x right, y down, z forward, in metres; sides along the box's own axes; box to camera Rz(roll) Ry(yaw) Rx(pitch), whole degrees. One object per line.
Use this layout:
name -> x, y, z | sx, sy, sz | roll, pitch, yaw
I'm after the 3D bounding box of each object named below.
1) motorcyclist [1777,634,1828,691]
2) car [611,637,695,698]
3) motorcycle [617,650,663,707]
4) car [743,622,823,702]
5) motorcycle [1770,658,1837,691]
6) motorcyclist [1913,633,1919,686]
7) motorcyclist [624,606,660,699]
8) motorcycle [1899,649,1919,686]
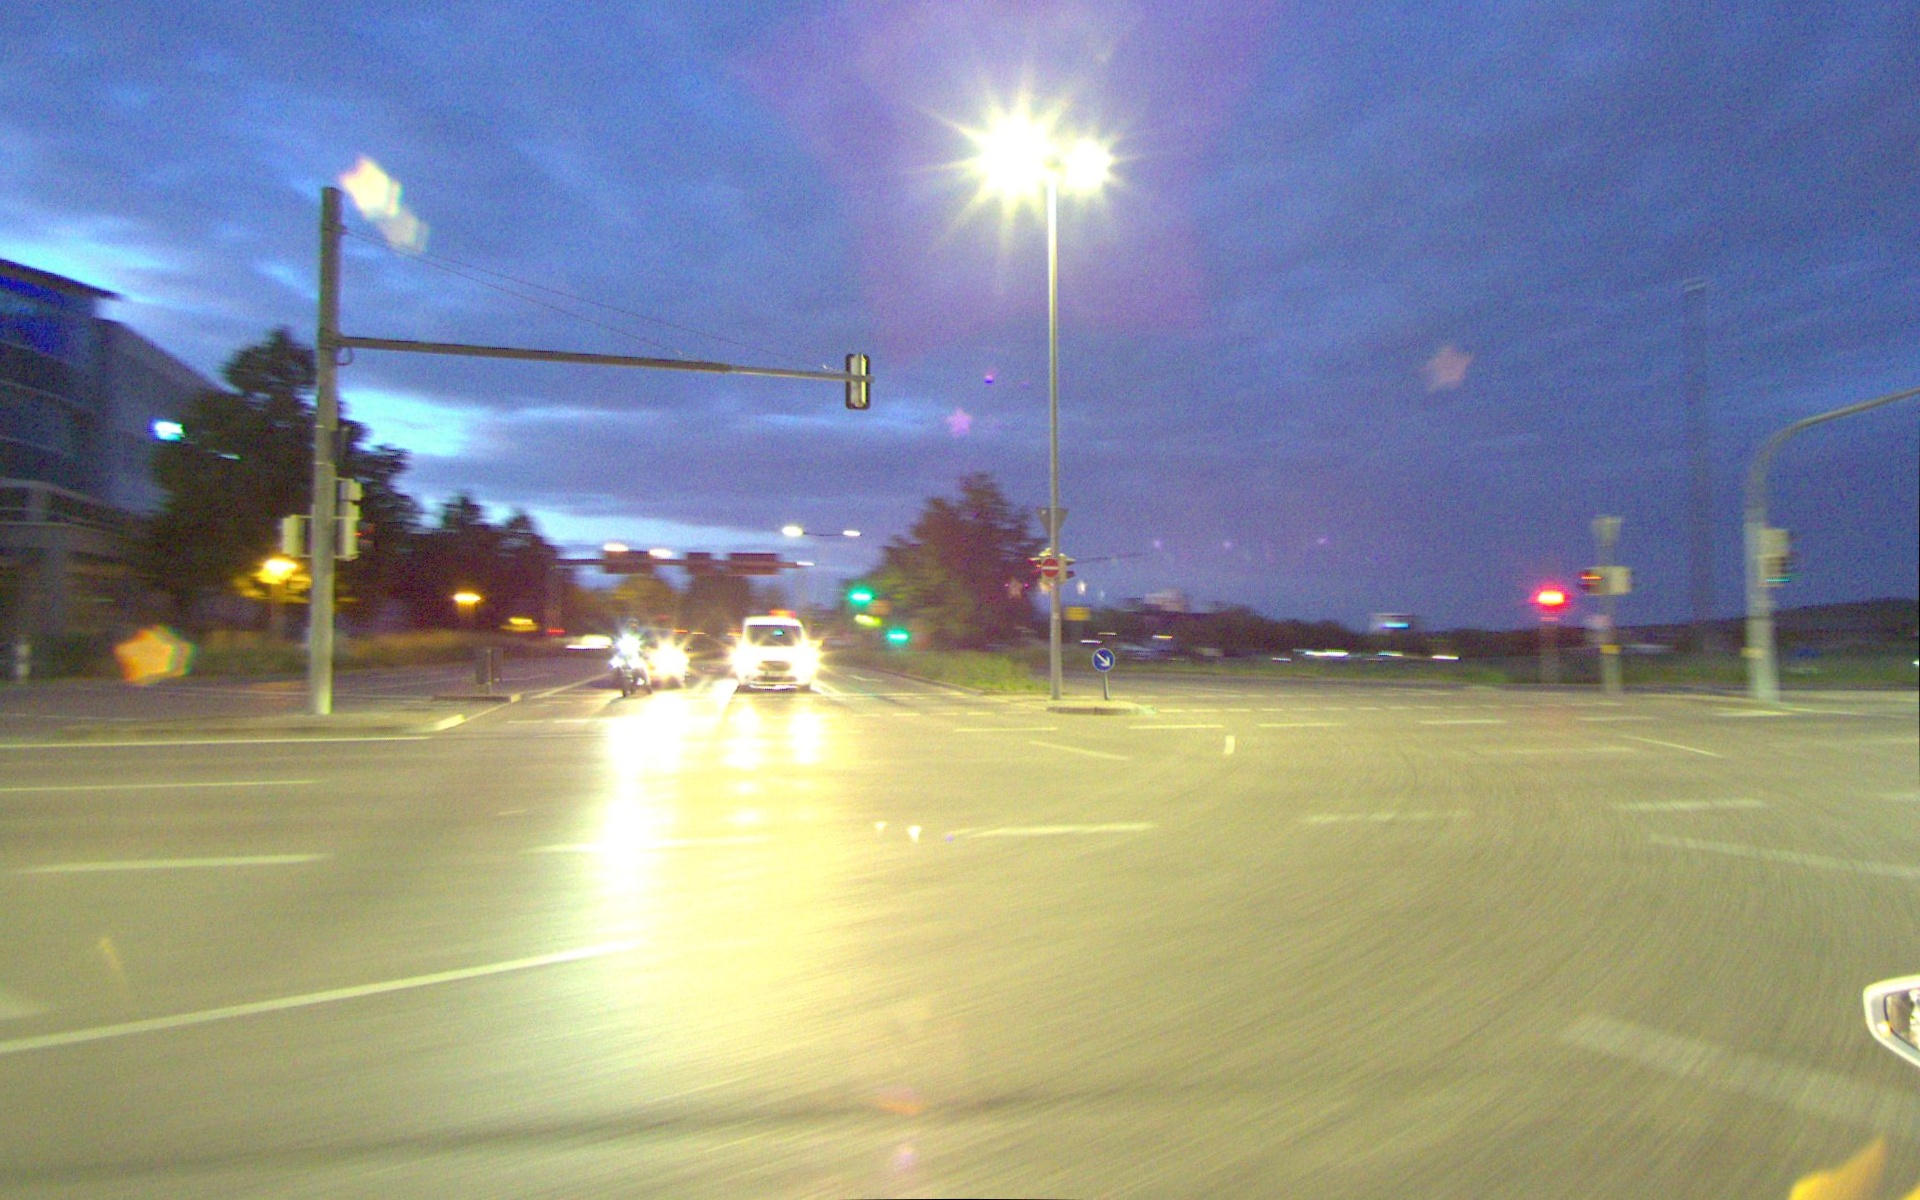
motorcyclist -> 28.653, 2.135, 34.165 | 0.853, 1.831, 0.918 | 1, -7, 6
car -> -7.876, 1.697, 26.074 | 1.744, 1.466, 3.773 | 1, -2, -12
motorcycle -> -7.071, 1.707, 22.269 | 0.660, 1.179, 1.806 | 0, -2, -8
car -> -4.611, 1.537, 25.790 | 1.817, 1.838, 4.765 | 0, -2, -12
motorcycle -> 28.656, 2.542, 34.128 | 1.545, 1.046, 0.724 | 1, -7, 6
motorcyclist -> 33.051, 2.017, 34.016 | 0.775, 1.781, 0.684 | 2, -6, -8
motorcyclist -> -7.114, 1.174, 22.527 | 0.624, 2.040, 0.767 | 0, -2, -8
motorcycle -> 33.009, 2.302, 33.968 | 1.788, 1.196, 0.849 | 2, -7, -8
